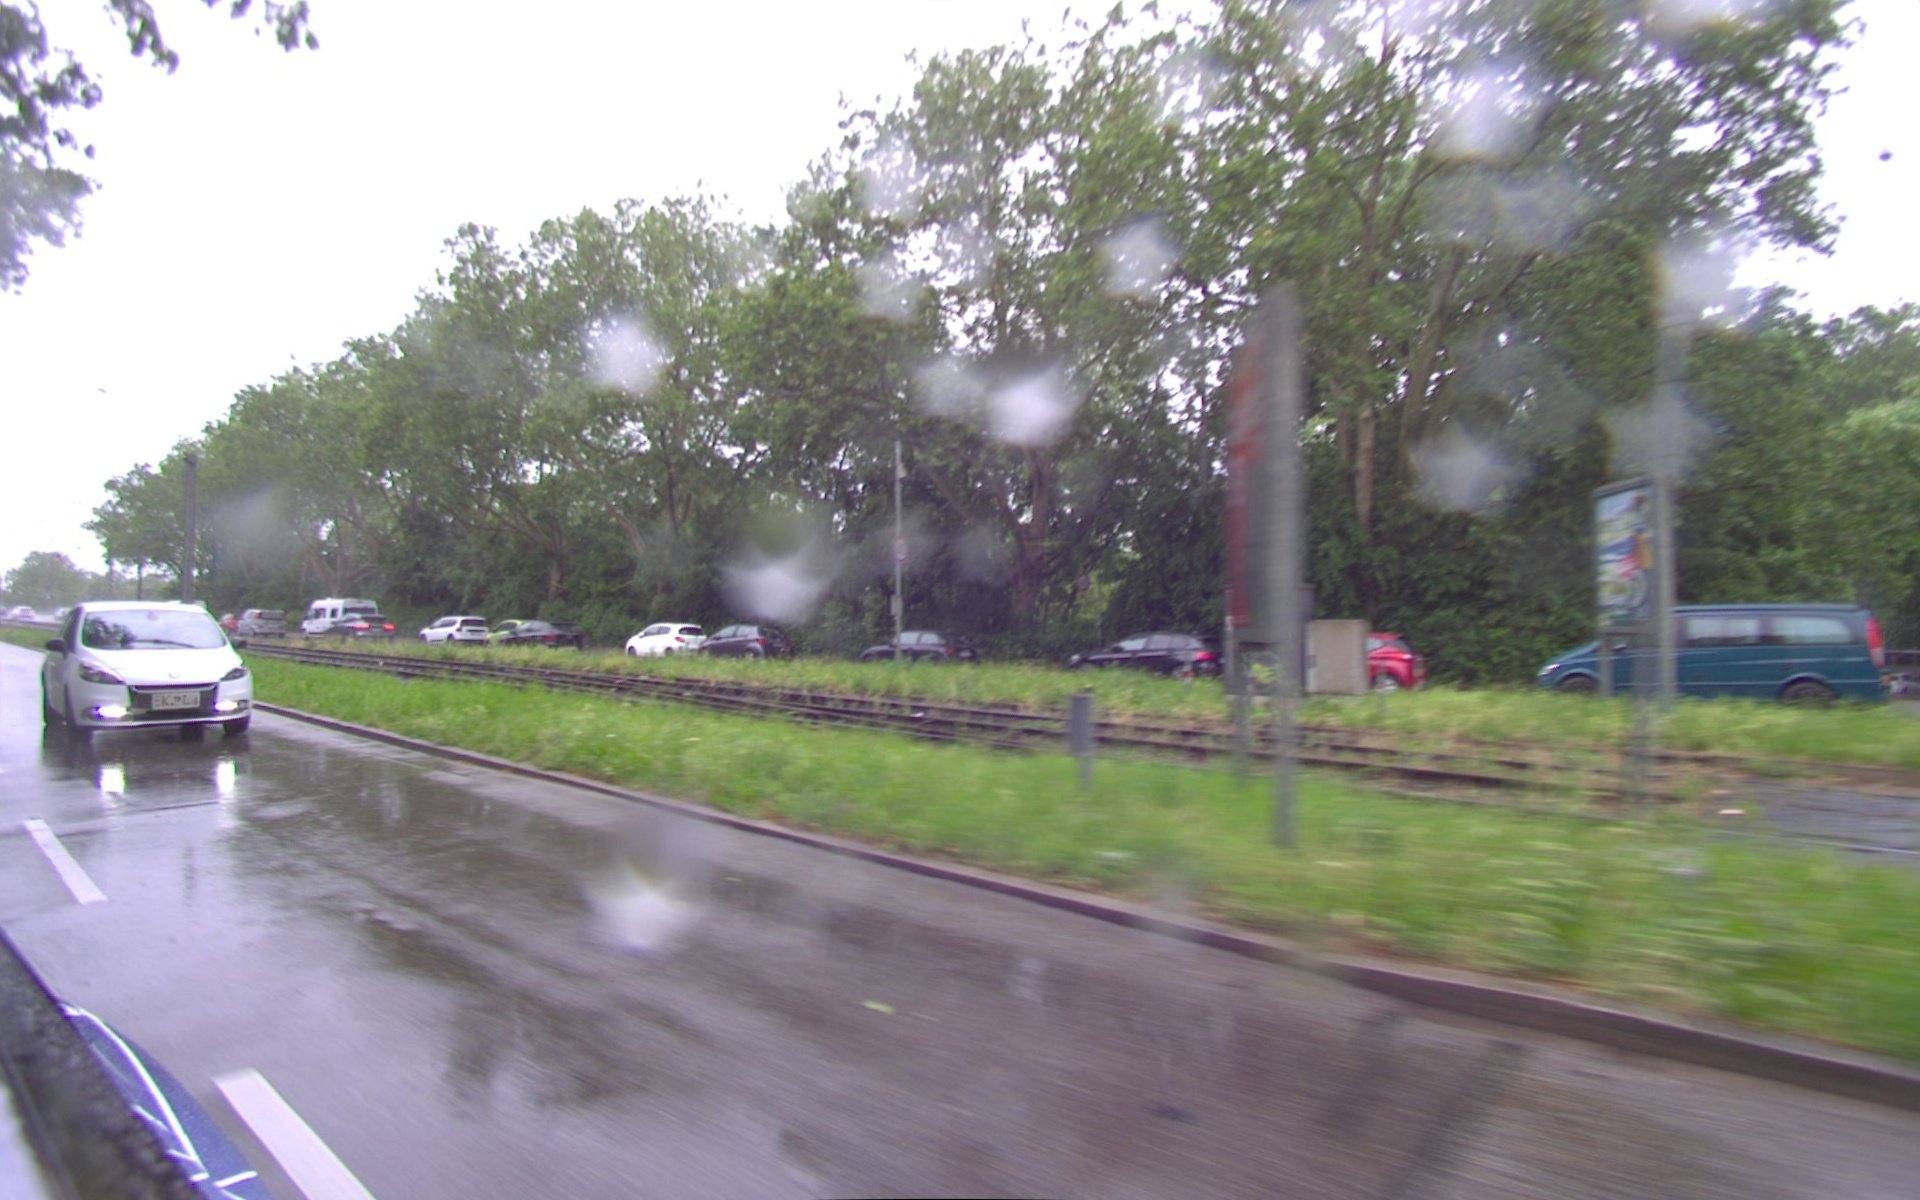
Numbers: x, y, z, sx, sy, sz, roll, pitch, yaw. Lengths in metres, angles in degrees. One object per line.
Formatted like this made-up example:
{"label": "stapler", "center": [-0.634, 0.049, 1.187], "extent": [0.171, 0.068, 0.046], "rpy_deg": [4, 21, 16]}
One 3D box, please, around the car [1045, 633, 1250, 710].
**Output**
{"label": "car", "center": [4.577, 1.707, 25.067], "extent": [4.606, 1.670, 2.011], "rpy_deg": [0, -3, 40]}

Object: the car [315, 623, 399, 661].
{"label": "car", "center": [-28.319, 1.957, 47.513], "extent": [4.391, 1.670, 1.993], "rpy_deg": [0, -3, 40]}

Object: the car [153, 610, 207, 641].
{"label": "car", "center": [-64.356, 2.088, 83.471], "extent": [6.136, 2.464, 2.305], "rpy_deg": [0, -3, 41]}

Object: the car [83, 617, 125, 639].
{"label": "car", "center": [-75.068, 2.441, 88.709], "extent": [4.256, 1.764, 2.011], "rpy_deg": [0, -3, 40]}

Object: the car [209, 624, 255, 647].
{"label": "car", "center": [-52.618, 2.581, 73.099], "extent": [4.023, 1.564, 1.799], "rpy_deg": [-1, -3, 41]}

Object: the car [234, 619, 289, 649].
{"label": "car", "center": [-47.811, 2.315, 69.254], "extent": [4.638, 1.876, 1.936], "rpy_deg": [-1, -3, 41]}

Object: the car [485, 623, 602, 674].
{"label": "car", "center": [-14.935, 1.725, 36.211], "extent": [4.272, 1.670, 2.011], "rpy_deg": [0, -3, 39]}

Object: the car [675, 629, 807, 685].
{"label": "car", "center": [-7.709, 1.959, 35.398], "extent": [4.690, 1.764, 2.011], "rpy_deg": [0, -3, 40]}

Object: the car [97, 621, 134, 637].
{"label": "car", "center": [-84.504, 2.902, 101.248], "extent": [4.381, 1.564, 2.013], "rpy_deg": [0, -3, 40]}

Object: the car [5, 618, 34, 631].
{"label": "car", "center": [-116.331, 3.009, 125.152], "extent": [4.765, 1.579, 1.958], "rpy_deg": [-1, -3, 40]}

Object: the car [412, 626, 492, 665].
{"label": "car", "center": [-24.591, 2.168, 48.926], "extent": [4.527, 1.741, 1.732], "rpy_deg": [0, -3, 40]}

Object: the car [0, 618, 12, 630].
{"label": "car", "center": [-133.735, 3.260, 140.960], "extent": [4.565, 1.564, 2.012], "rpy_deg": [0, -2, 42]}

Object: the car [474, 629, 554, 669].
{"label": "car", "center": [-20.053, 2.193, 45.430], "extent": [3.810, 1.661, 1.743], "rpy_deg": [0, -3, 40]}

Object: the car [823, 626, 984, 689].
{"label": "car", "center": [-1.730, 1.669, 30.089], "extent": [4.606, 1.670, 2.011], "rpy_deg": [0, -3, 40]}

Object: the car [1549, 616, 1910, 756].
{"label": "car", "center": [13.203, 1.380, 17.725], "extent": [4.797, 2.109, 2.012], "rpy_deg": [0, -3, 38]}

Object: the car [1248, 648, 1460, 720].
{"label": "car", "center": [8.500, 1.773, 21.991], "extent": [3.981, 1.327, 1.719], "rpy_deg": [0, -3, 38]}

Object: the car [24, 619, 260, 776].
{"label": "car", "center": [-10.533, 1.075, 12.912], "extent": [4.264, 1.636, 1.844], "rpy_deg": [-1, -1, 44]}

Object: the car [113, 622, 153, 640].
{"label": "car", "center": [-76.291, 2.893, 93.393], "extent": [4.381, 1.564, 2.013], "rpy_deg": [0, -3, 40]}

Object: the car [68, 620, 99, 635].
{"label": "car", "center": [-97.569, 3.085, 112.620], "extent": [4.576, 1.522, 1.866], "rpy_deg": [-1, -3, 40]}

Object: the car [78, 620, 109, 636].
{"label": "car", "center": [-92.893, 2.995, 108.435], "extent": [4.367, 1.663, 1.866], "rpy_deg": [-1, -3, 41]}

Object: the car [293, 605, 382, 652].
{"label": "car", "center": [-36.330, 1.635, 58.977], "extent": [6.561, 2.560, 2.365], "rpy_deg": [0, -3, 40]}

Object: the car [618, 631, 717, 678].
{"label": "car", "center": [-11.155, 2.057, 38.475], "extent": [3.810, 1.661, 1.743], "rpy_deg": [0, -3, 40]}
